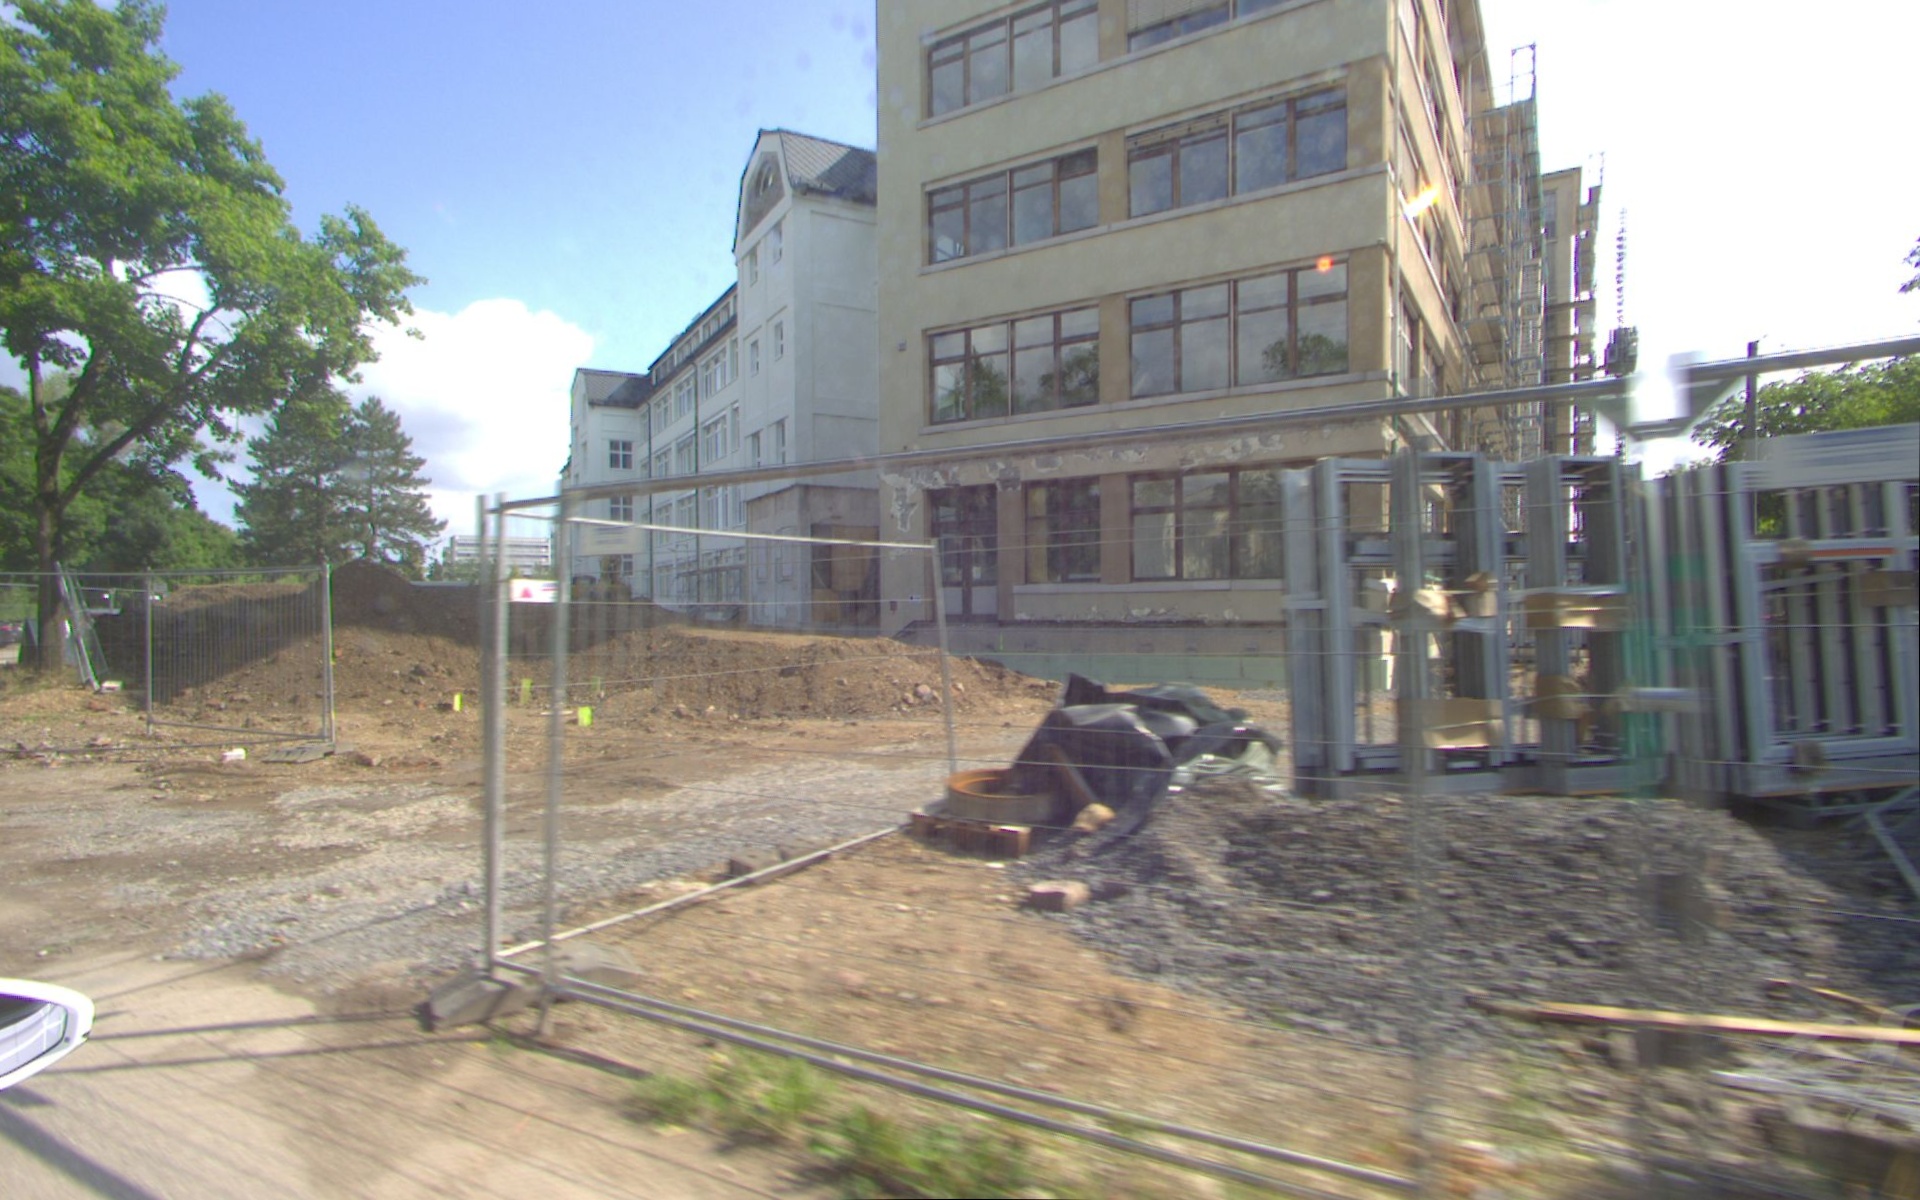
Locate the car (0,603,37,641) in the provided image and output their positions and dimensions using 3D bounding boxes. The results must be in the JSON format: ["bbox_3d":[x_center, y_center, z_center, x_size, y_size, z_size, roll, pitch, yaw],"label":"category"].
[{"bbox_3d":[-40.724,0.873,41.002,3.949,1.444,1.835,4,-6,-33],"label":"car"}]

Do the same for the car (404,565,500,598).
[{"bbox_3d":[-28.881,-1.016,56.994,4.800,1.444,1.838,3,-6,-29],"label":"car"}]
